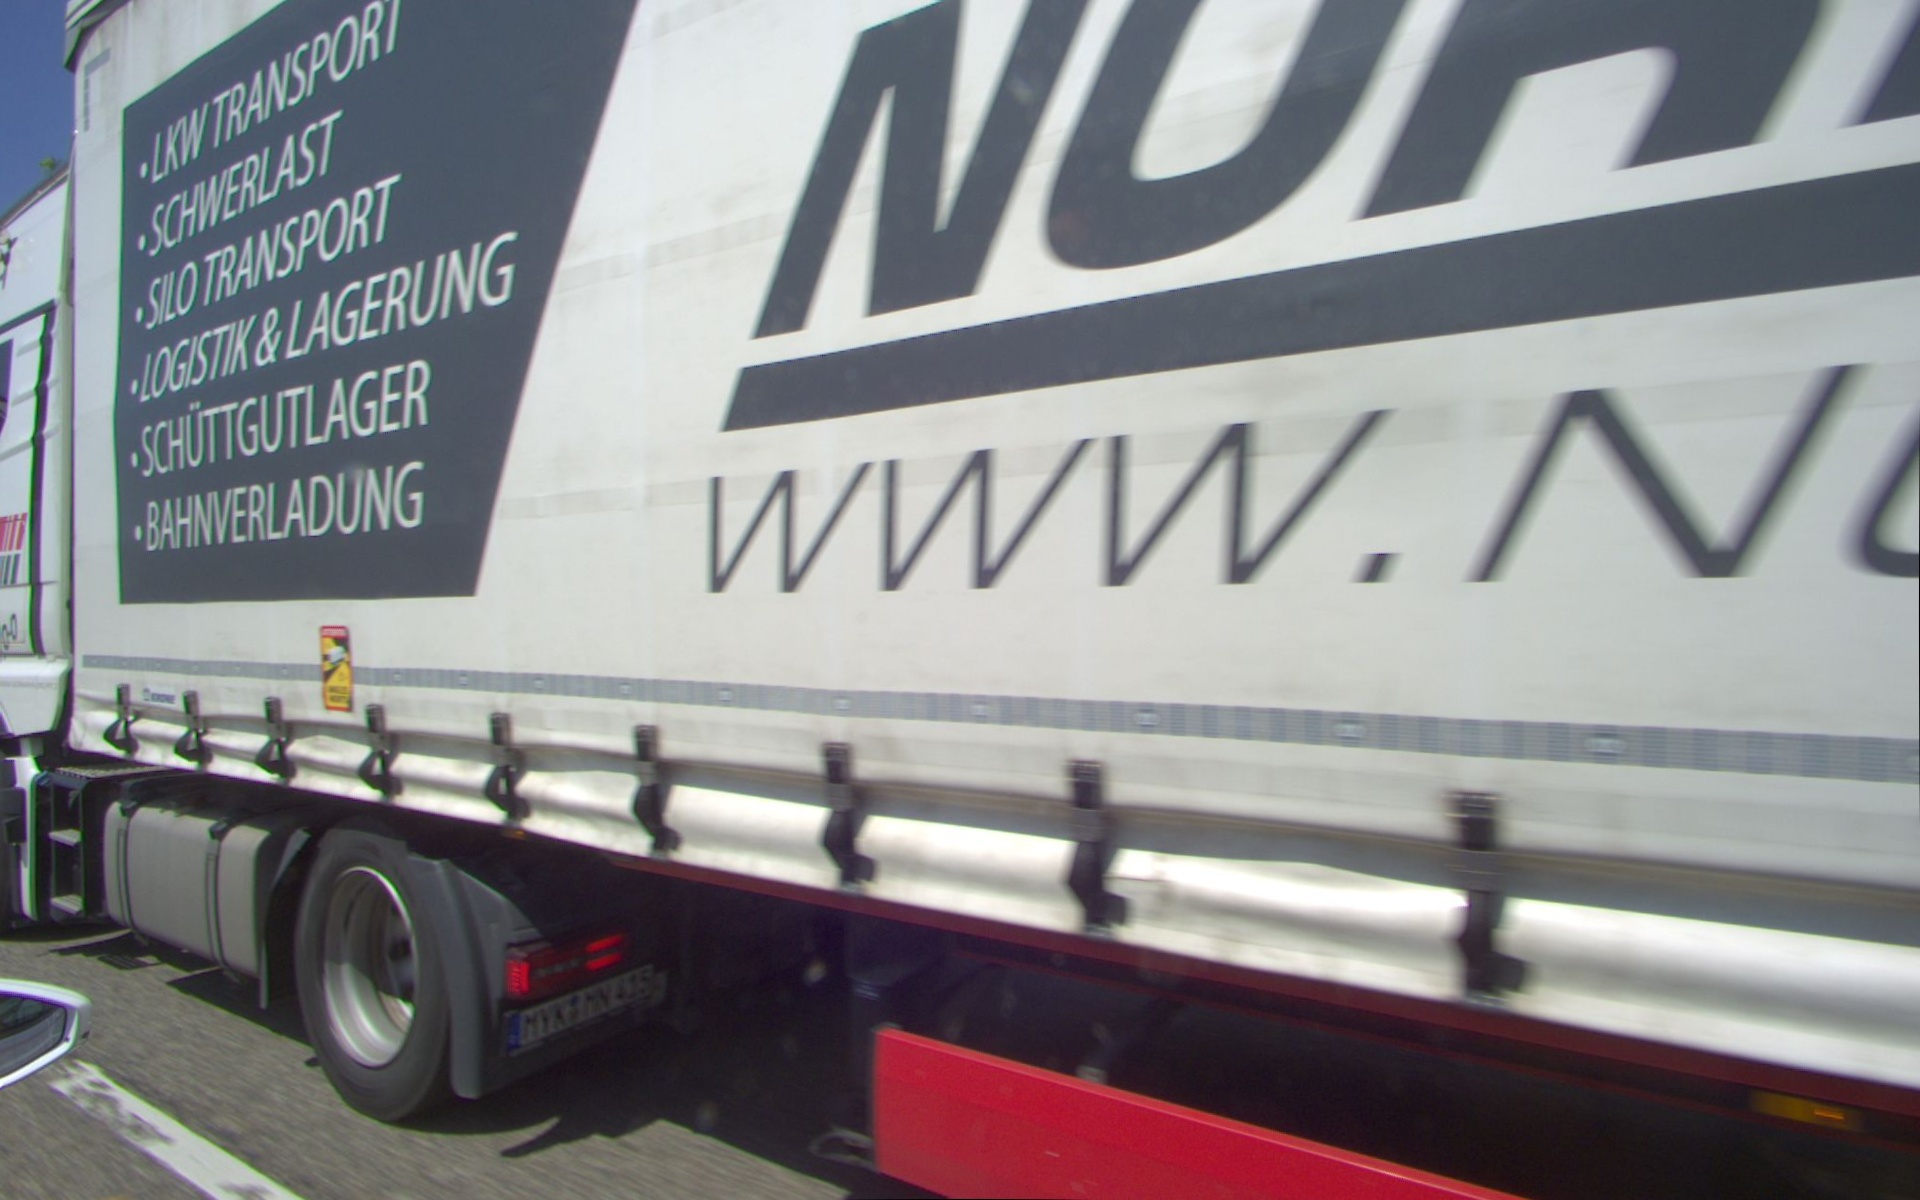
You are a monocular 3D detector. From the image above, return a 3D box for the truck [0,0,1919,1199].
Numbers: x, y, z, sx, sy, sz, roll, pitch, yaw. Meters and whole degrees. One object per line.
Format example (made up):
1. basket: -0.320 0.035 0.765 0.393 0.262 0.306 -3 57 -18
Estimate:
1. truck: 1.488 -0.600 2.360 17.384 4.146 2.968 -2 -2 32
